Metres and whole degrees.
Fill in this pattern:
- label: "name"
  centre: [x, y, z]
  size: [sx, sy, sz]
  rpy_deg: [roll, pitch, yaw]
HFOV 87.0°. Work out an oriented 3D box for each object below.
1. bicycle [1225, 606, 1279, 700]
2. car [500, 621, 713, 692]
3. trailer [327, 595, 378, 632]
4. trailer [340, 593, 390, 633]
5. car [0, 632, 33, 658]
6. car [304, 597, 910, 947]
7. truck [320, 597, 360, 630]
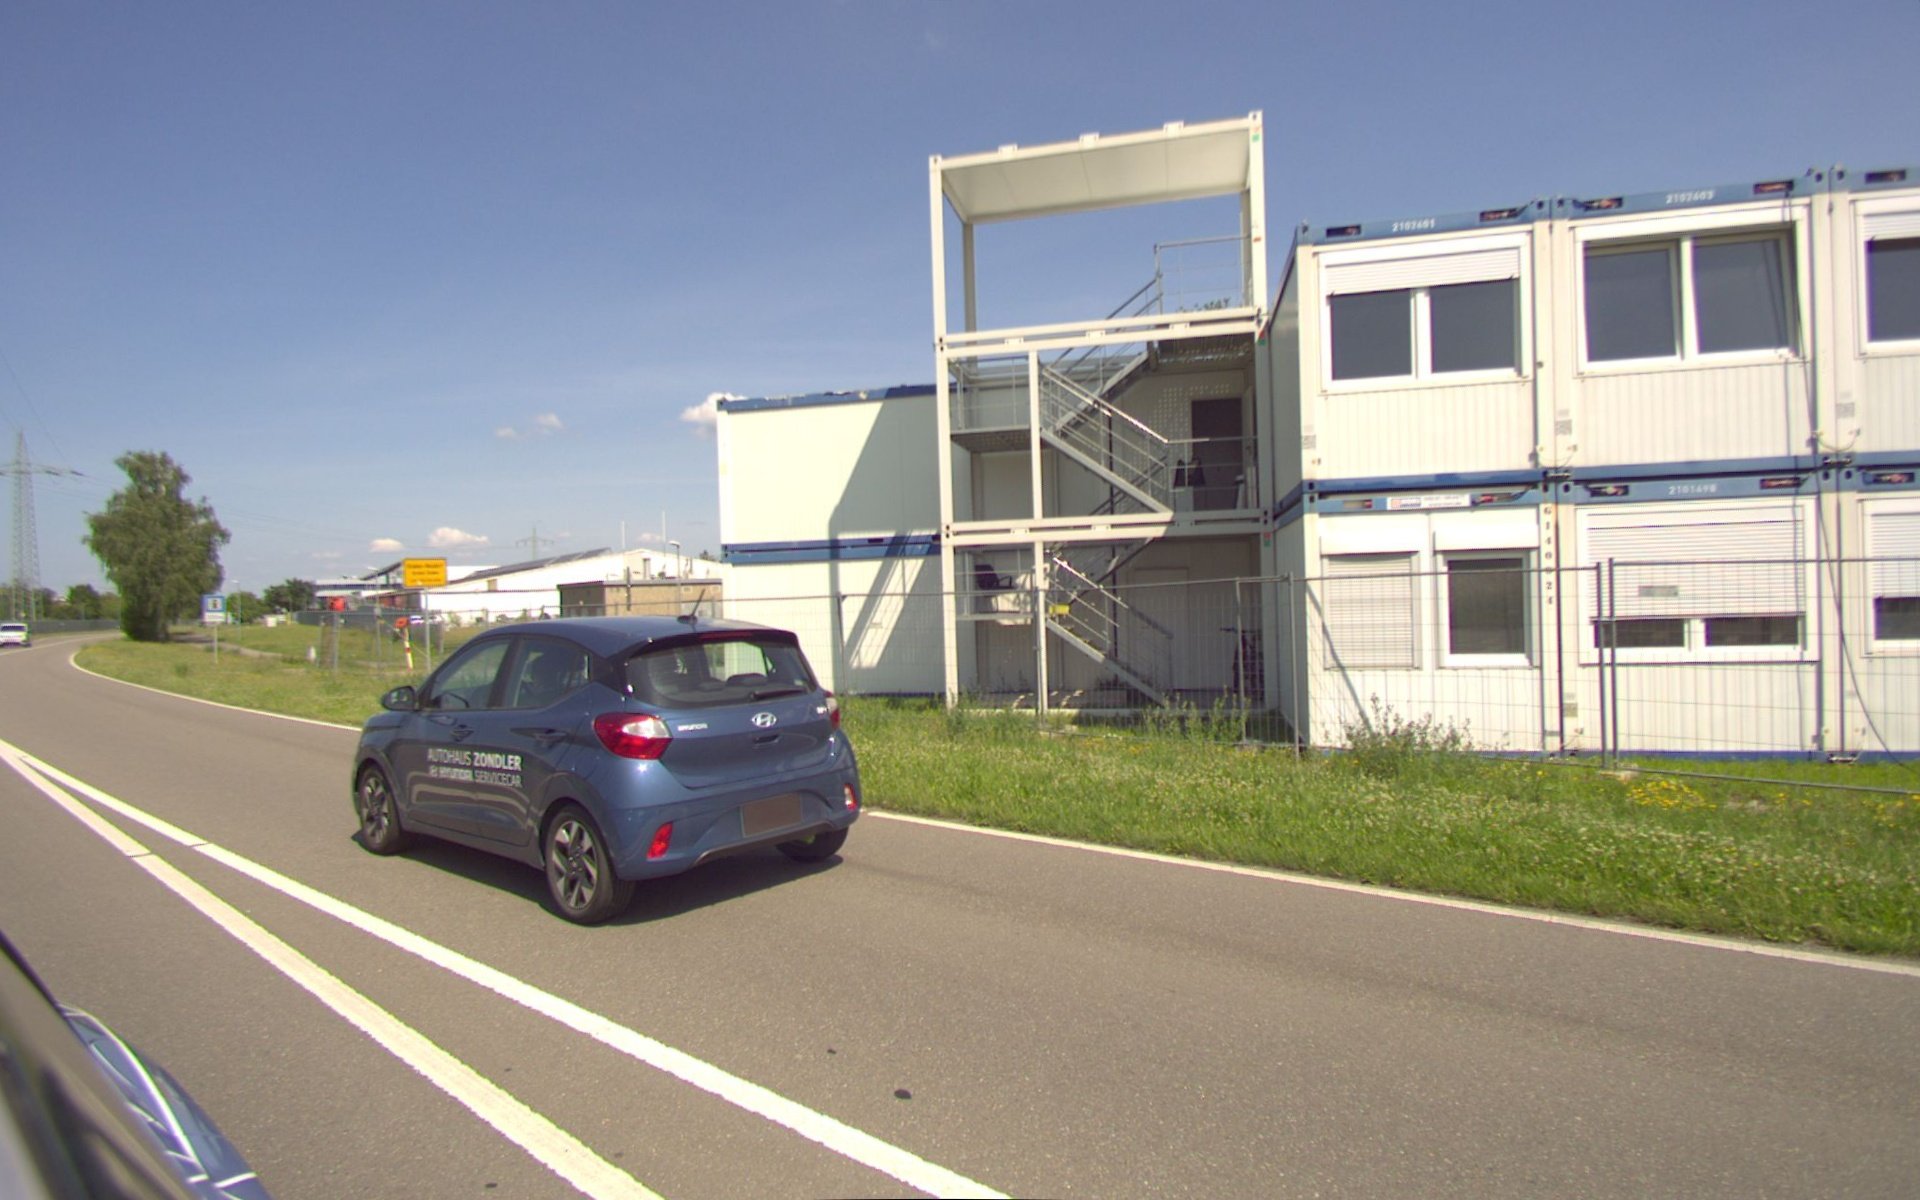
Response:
- label: "bicycle"
  centre: [4.378, 0.750, 15.292]
  size: [0.602, 1.311, 2.039]
  rpy_deg: [-1, 0, 12]
- label: "car"
  centre: [-8.824, 1.368, 25.724]
  size: [1.994, 1.427, 4.931]
  rpy_deg: [-2, 0, 32]
- label: "trailer"
  centre: [-64.429, 1.408, 107.118]
  size: [3.247, 3.672, 14.960]
  rpy_deg: [-1, 0, -36]
- label: "trailer"
  centre: [-57.461, 1.273, 97.595]
  size: [3.354, 3.672, 8.679]
  rpy_deg: [-1, 0, -36]
- label: "car"
  centre: [-71.058, 3.332, 75.900]
  size: [1.808, 1.820, 4.840]
  rpy_deg: [0, -1, -37]
- label: "car"
  centre: [-2.365, 0.763, 6.268]
  size: [3.995, 1.493, 1.686]
  rpy_deg: [-1, 0, 39]
- label: "truck"
  centre: [-71.996, 1.554, 117.407]
  size: [3.060, 3.672, 10.618]
  rpy_deg: [-1, 0, -36]
